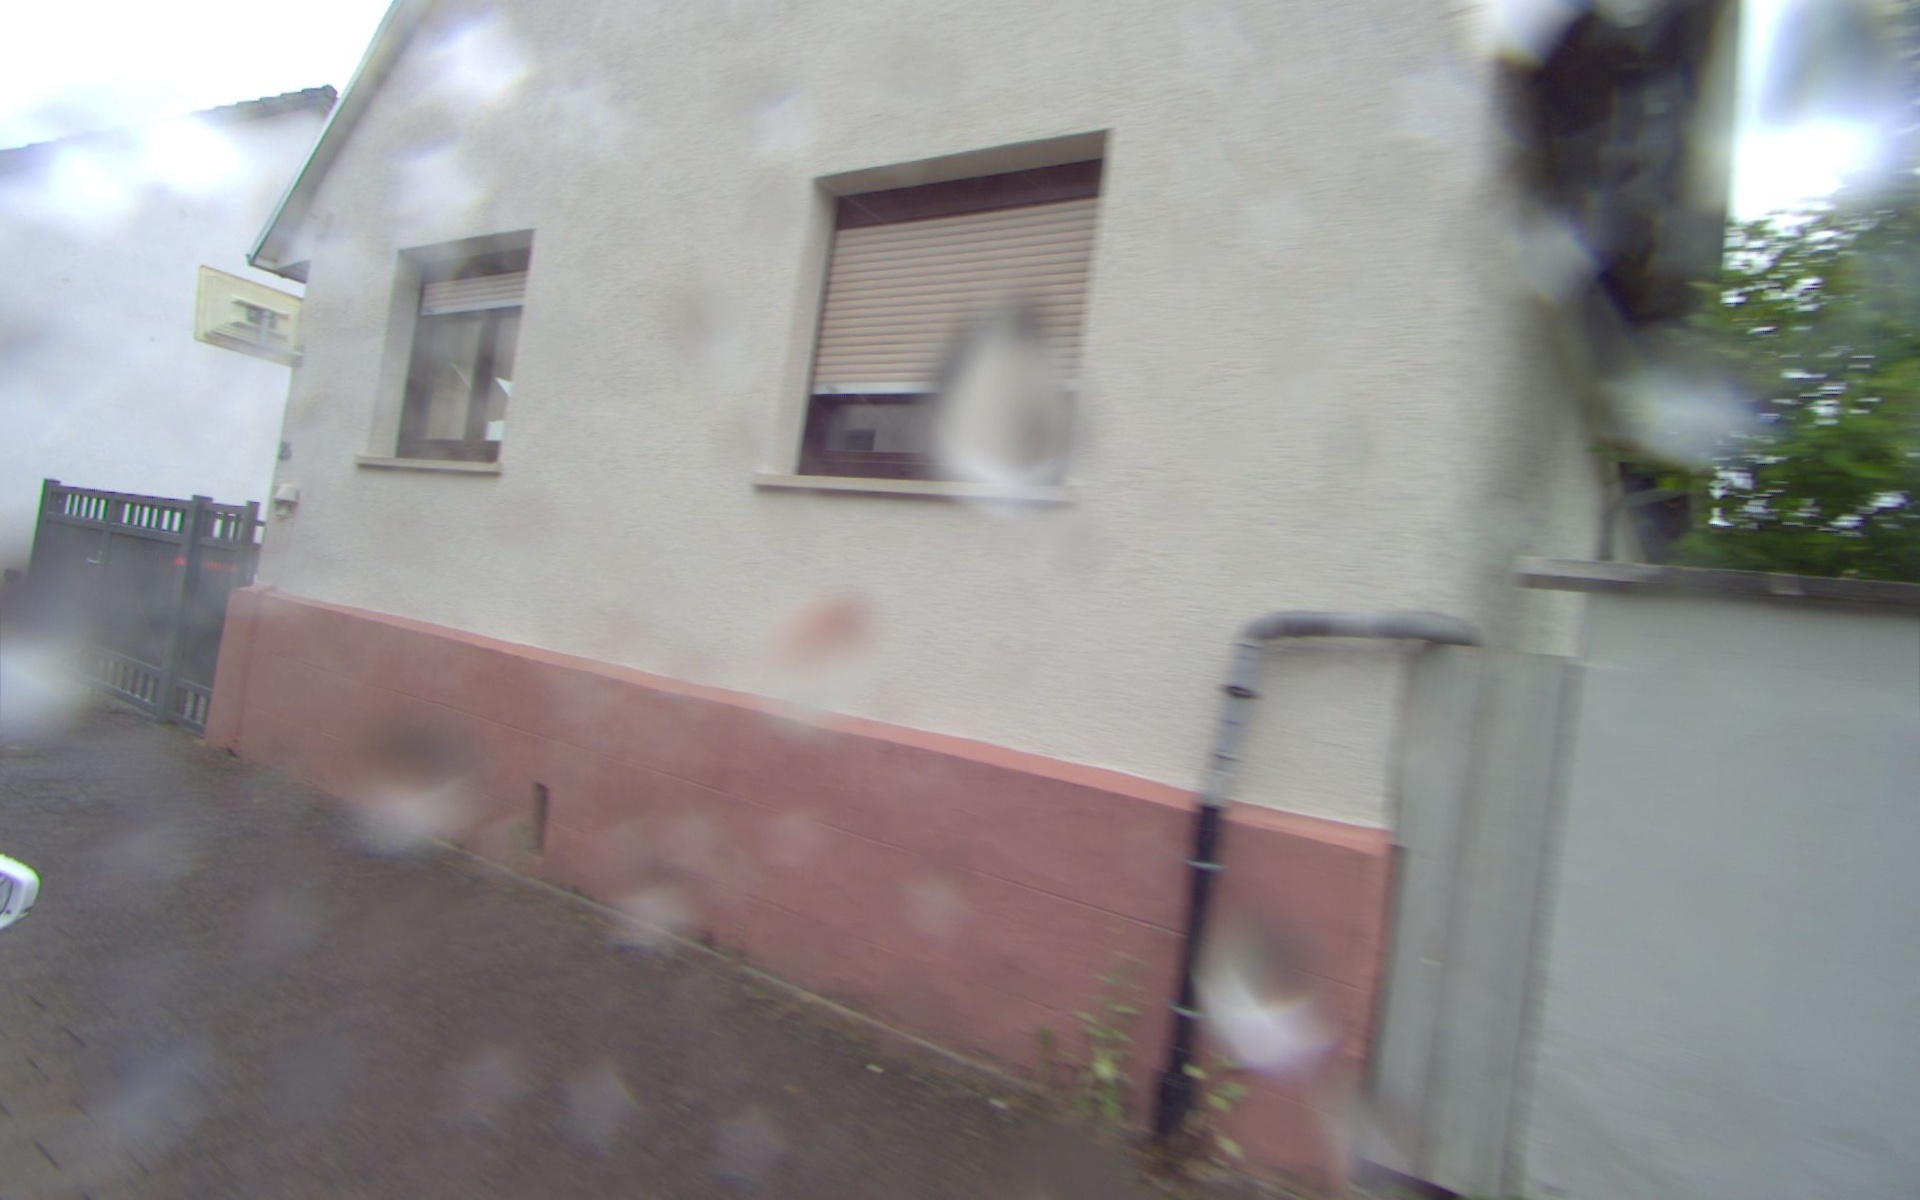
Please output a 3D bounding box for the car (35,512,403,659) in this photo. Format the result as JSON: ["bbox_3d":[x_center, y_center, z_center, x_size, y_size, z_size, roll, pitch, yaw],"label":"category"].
[{"bbox_3d":[-10.854,-0.126,15.057,1.820,1.513,3.909,6,-4,29],"label":"car"}]
